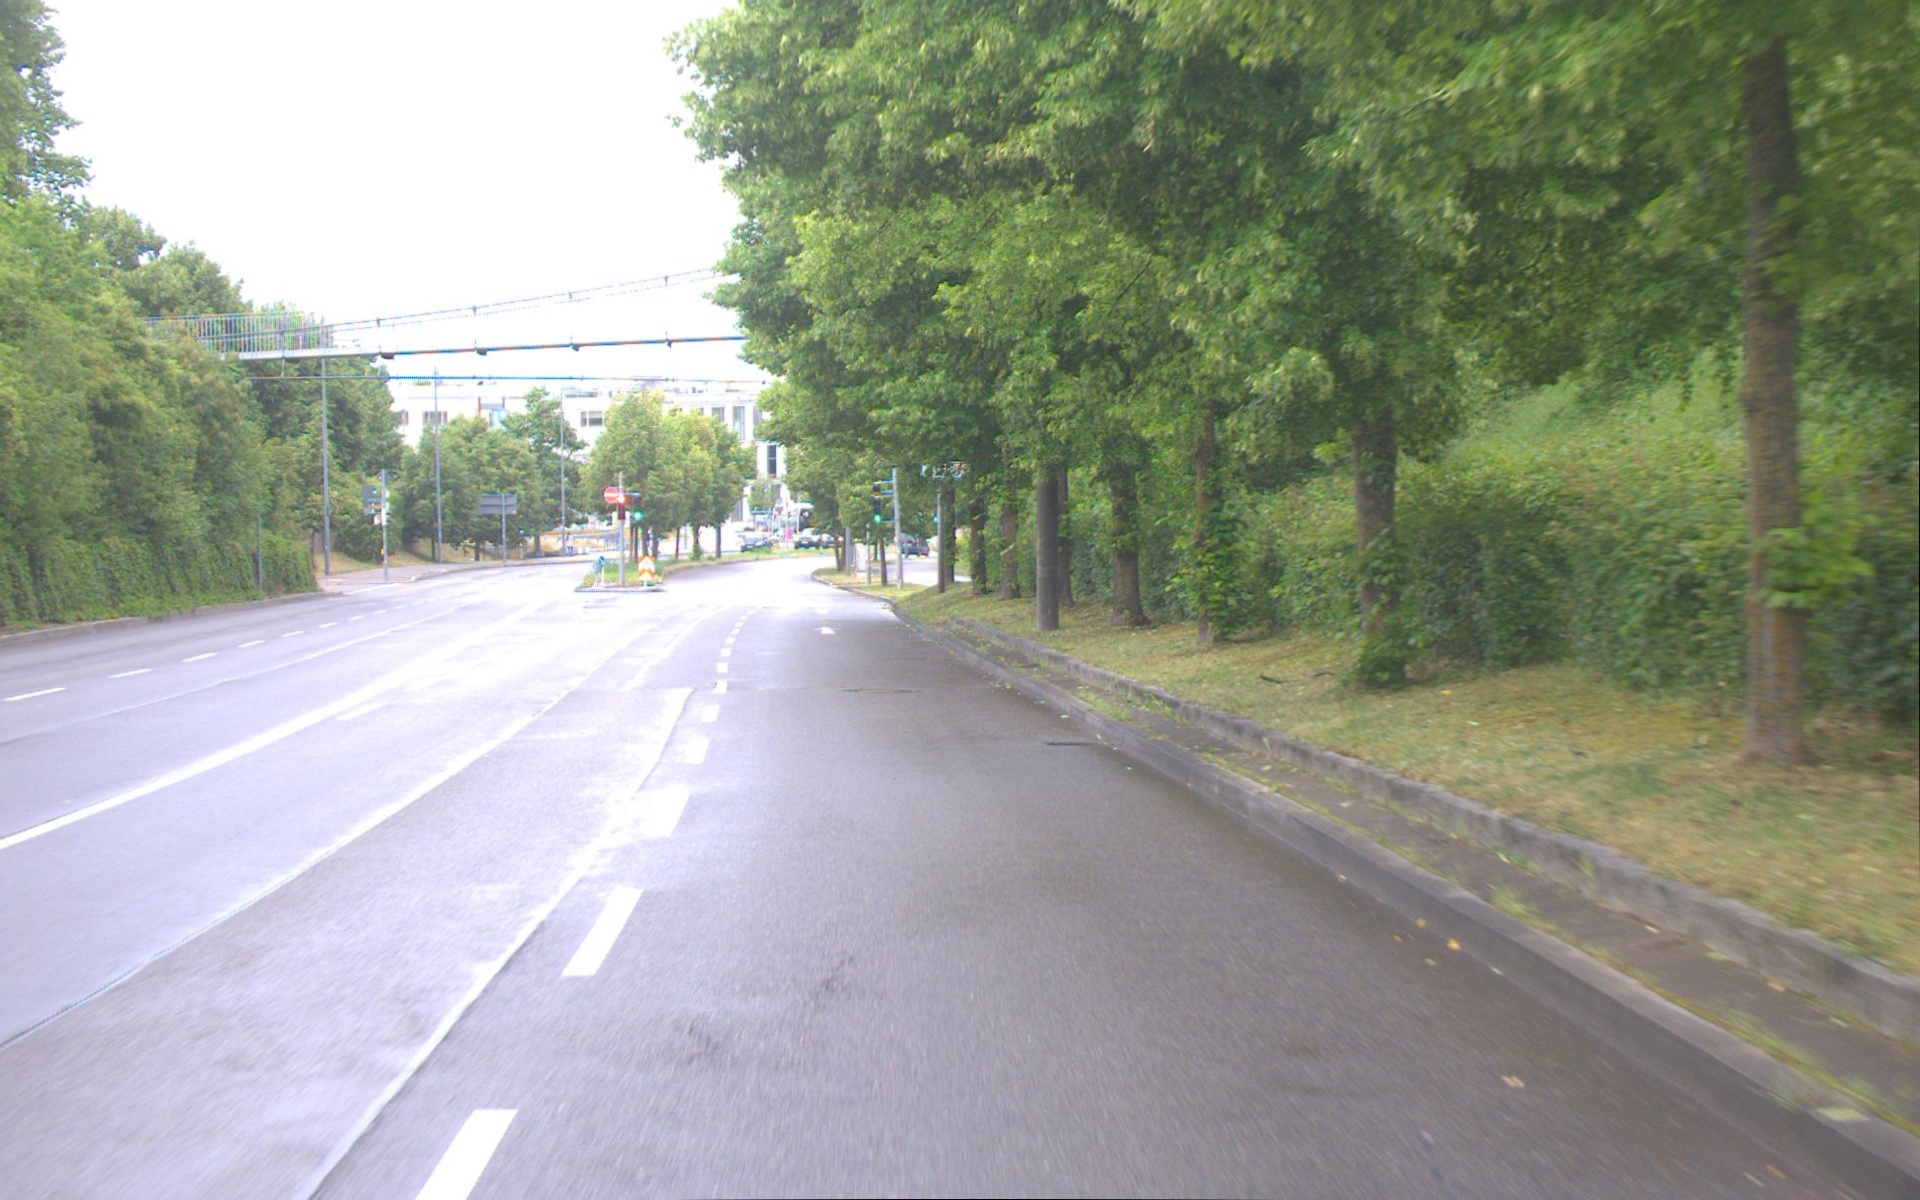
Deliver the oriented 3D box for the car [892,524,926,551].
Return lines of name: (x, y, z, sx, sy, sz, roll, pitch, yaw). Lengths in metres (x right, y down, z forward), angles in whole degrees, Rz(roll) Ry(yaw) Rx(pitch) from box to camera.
car: (-3.461, -4.236, 233.631, 1.849, 1.696, 3.792, 1, 0, 5)
